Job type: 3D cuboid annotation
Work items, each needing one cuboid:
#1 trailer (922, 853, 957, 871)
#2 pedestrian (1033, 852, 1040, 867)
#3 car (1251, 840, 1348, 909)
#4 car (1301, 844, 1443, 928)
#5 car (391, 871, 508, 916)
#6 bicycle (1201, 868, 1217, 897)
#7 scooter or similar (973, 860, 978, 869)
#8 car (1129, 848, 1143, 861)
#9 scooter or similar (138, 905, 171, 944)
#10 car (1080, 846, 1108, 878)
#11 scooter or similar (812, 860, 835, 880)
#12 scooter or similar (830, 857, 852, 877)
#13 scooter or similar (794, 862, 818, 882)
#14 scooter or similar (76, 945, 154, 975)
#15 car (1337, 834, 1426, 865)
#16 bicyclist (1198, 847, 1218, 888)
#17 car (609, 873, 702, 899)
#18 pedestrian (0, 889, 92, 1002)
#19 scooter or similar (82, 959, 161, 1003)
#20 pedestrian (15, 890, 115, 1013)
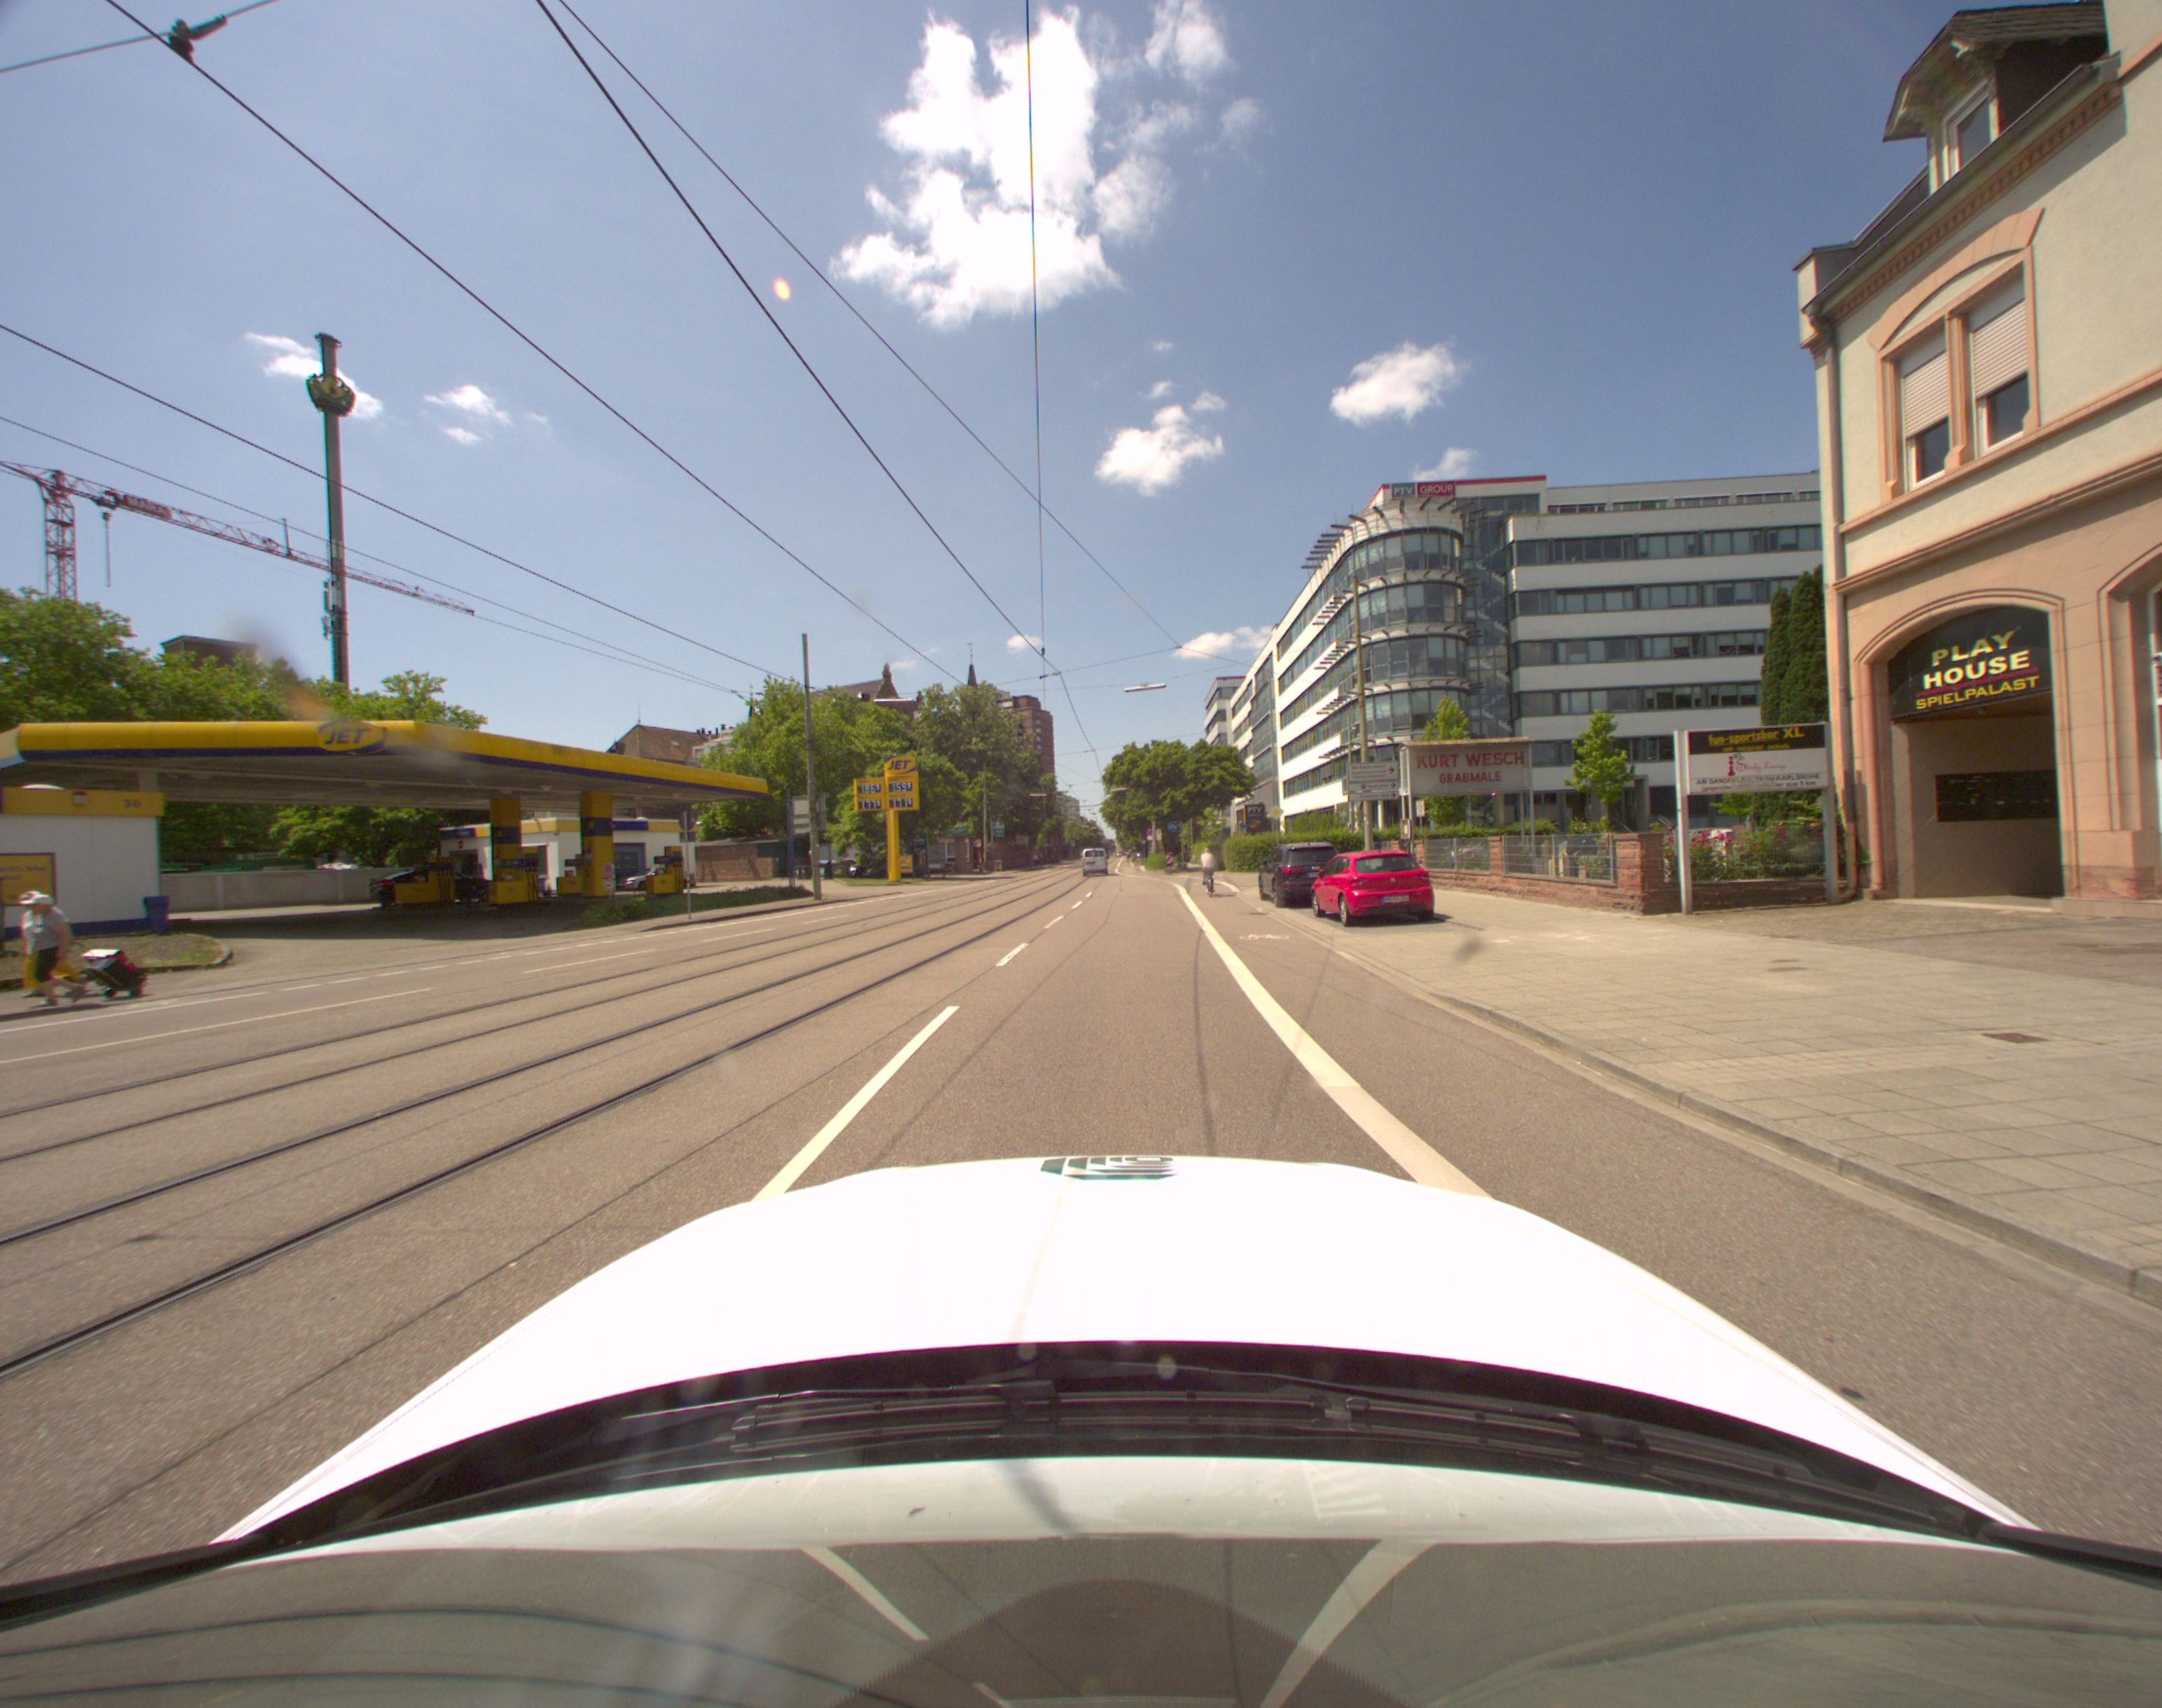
[{"bbox_3d":[-12.324,0.706,70.839,2.715,1.526,1.331,-1,-1,4],"label":"trailer"},{"bbox_3d":[-6.064,0.700,111.293,0.861,2.014,0.646,-4,-1,0],"label":"pedestrian"},{"bbox_3d":[6.162,0.512,23.505,1.854,1.687,5.009,-3,0,6],"label":"car"},{"bbox_3d":[6.014,0.591,17.332,1.705,1.452,4.076,-4,0,3],"label":"car"},{"bbox_3d":[-28.423,1.757,36.779,1.583,1.703,3.793,-5,-1,28],"label":"car"},{"bbox_3d":[4.371,0.952,27.934,0.463,0.887,2.052,-2,0,7],"label":"bicycle"},{"bbox_3d":[-10.008,0.972,77.271,0.430,0.863,0.500,-2,-1,0],"label":"scooter or similar"},{"bbox_3d":[7.182,0.105,106.338,1.580,1.489,3.455,-4,-1,1],"label":"car"},{"bbox_3d":[-22.872,1.742,20.107,0.403,0.930,0.327,-2,0,5],"label":"scooter or similar"},{"bbox_3d":[0.922,0.487,55.973,1.746,2.013,4.002,-4,1,2],"label":"car"},{"bbox_3d":[-19.432,1.209,61.464,1.304,1.466,1.063,-2,-1,14],"label":"scooter or similar"},{"bbox_3d":[-17.901,0.979,60.745,1.166,1.466,1.061,-2,-1,8],"label":"scooter or similar"},{"bbox_3d":[-21.090,1.348,62.503,1.304,1.466,1.063,-2,0,14],"label":"scooter or similar"},{"bbox_3d":[-15.826,1.739,13.353,0.470,0.394,0.674,-2,0,10],"label":"scooter or similar"},{"bbox_3d":[14.737,-0.225,40.035,3.782,1.275,1.557,-4,0,3],"label":"car"},{"bbox_3d":[4.358,0.453,27.927,0.588,1.397,0.843,-2,0,6],"label":"bicyclist"},{"bbox_3d":[-26.615,1.992,51.153,1.818,1.365,5.039,-2,0,26],"label":"car"},{"bbox_3d":[-16.010,1.400,12.605,0.549,1.658,0.674,-2,0,10],"label":"pedestrian"},{"bbox_3d":[-14.783,1.948,12.555,0.473,0.581,0.633,-2,0,14],"label":"scooter or similar"},{"bbox_3d":[-14.637,1.384,11.744,0.576,1.671,0.669,-2,0,11],"label":"pedestrian"}]
